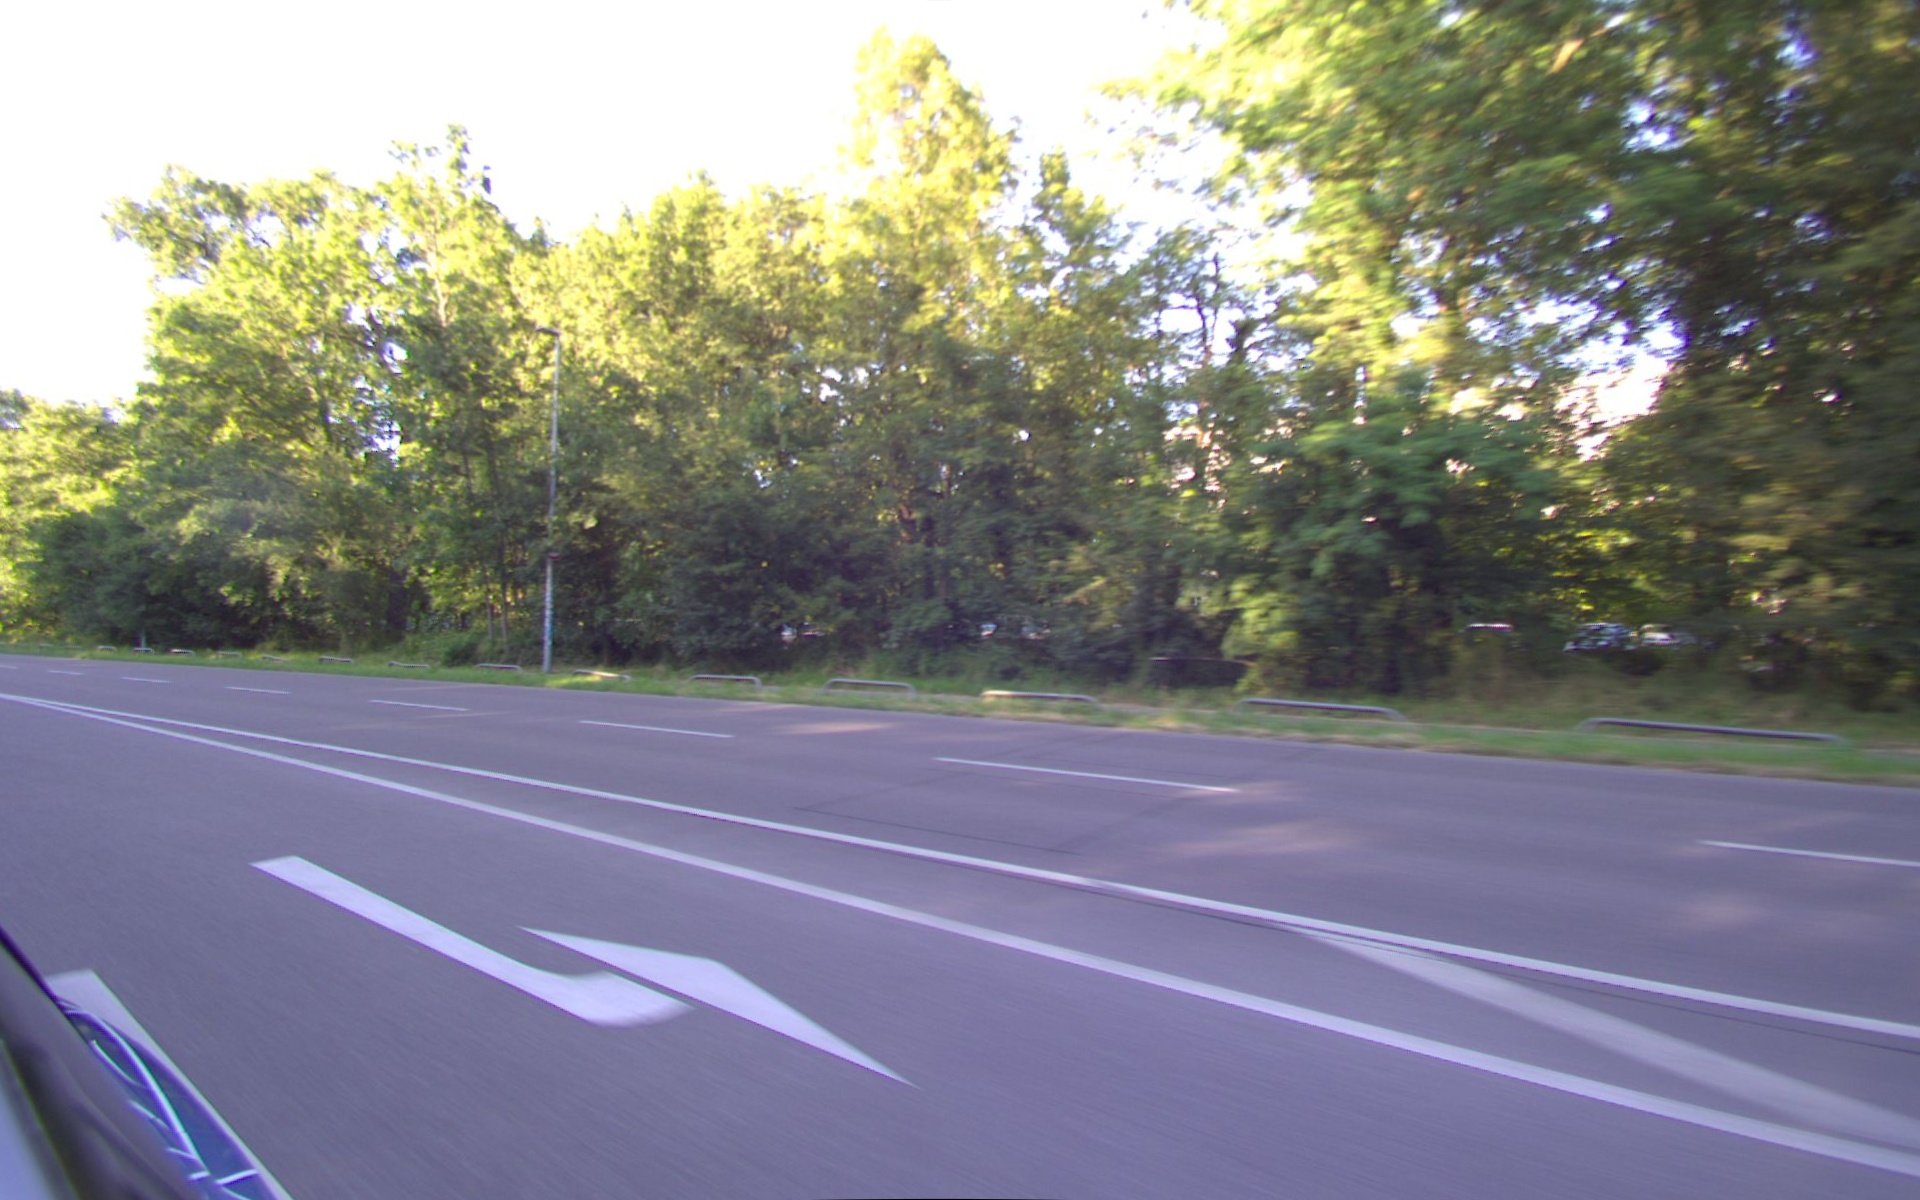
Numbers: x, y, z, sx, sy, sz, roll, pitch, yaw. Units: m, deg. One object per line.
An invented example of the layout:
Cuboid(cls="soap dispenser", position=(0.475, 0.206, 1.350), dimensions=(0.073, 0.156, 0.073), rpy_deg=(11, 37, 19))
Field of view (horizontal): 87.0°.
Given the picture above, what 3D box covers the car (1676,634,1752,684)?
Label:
Cuboid(cls="car", position=(25.191, 1.912, 33.769), dimensions=(1.780, 1.494, 3.946), rpy_deg=(-1, -1, 40))
